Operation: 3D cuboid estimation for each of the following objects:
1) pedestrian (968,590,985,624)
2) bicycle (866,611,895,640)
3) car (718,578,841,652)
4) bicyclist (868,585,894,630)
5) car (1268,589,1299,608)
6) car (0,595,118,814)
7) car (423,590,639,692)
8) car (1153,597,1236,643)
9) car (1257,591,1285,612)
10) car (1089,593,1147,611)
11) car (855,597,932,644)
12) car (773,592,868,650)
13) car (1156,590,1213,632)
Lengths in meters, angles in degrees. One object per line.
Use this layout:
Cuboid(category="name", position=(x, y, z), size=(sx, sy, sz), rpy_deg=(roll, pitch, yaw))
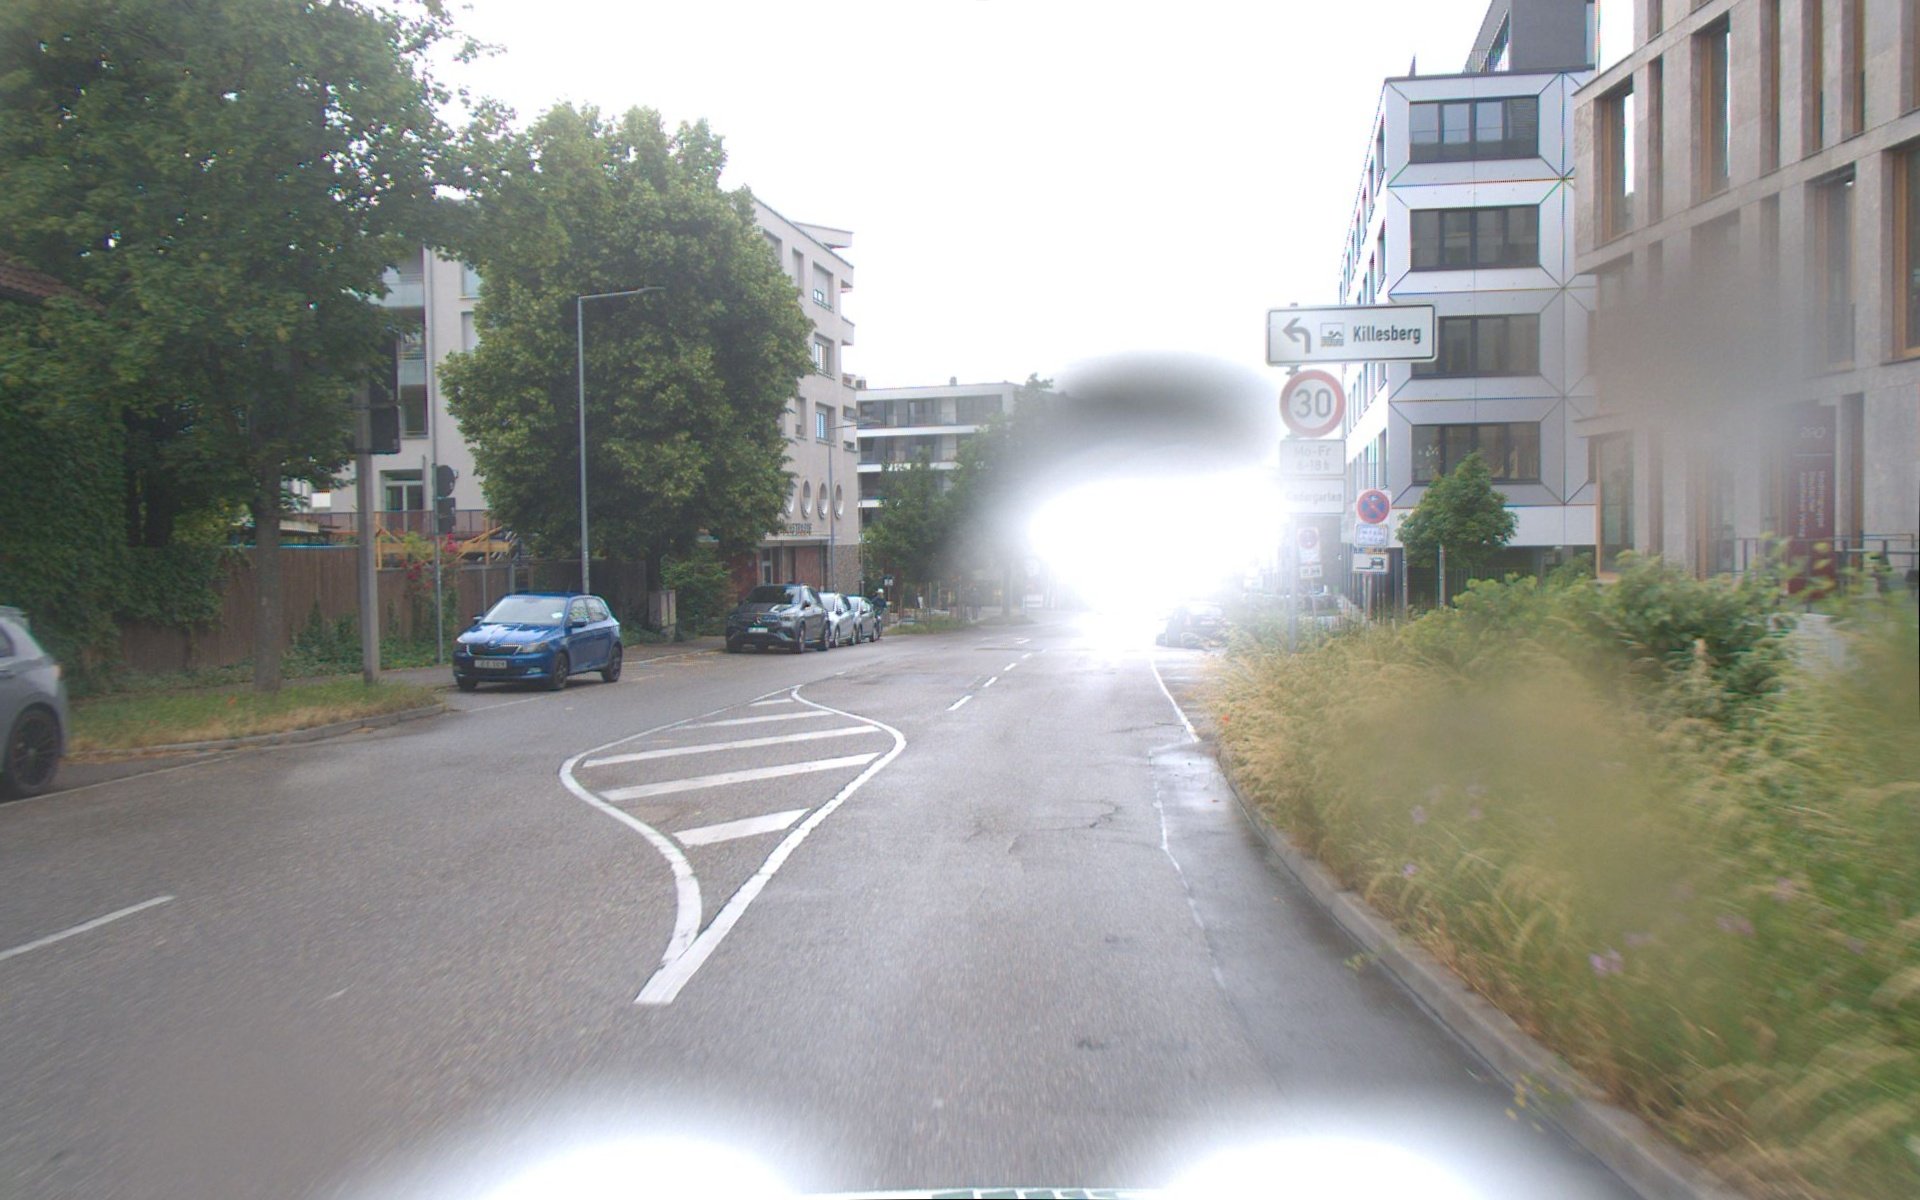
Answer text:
Cuboid(category="pedestrian", position=(0.992, 0.399, 100.845), size=(1.033, 2.049, 1.099), rpy_deg=(0, 0, 0))
Cuboid(category="bicycle", position=(-2.746, 0.875, 57.514), size=(0.785, 0.996, 2.255), rpy_deg=(0, 0, 3))
Cuboid(category="car", position=(-4.682, 0.379, 43.752), size=(1.951, 1.818, 5.415), rpy_deg=(0, 0, 8))
Cuboid(category="bicyclist", position=(-2.743, 0.245, 57.536), size=(0.784, 1.549, 1.202), rpy_deg=(0, 0, 2))
Cuboid(category="car", position=(26.391, -0.143, 134.781), size=(1.770, 1.510, 4.495), rpy_deg=(0, 0, 21))
Cuboid(category="car", position=(-7.747, 0.726, 10.894), size=(1.952, 1.539, 4.424), rpy_deg=(0, 0, 3))
Cuboid(category="car", position=(-6.782, 0.610, 26.635), size=(1.951, 1.496, 4.189), rpy_deg=(0, 0, 7))
Cuboid(category="car", position=(7.930, 0.659, 56.232), size=(2.004, 1.484, 4.052), rpy_deg=(0, 0, -4))
Cuboid(category="car", position=(24.418, 0.100, 129.872), size=(1.514, 1.504, 3.660), rpy_deg=(0, 1, 22))
Cuboid(category="car", position=(11.881, 0.167, 124.119), size=(1.963, 1.315, 4.677), rpy_deg=(0, 0, 41))
Cuboid(category="car", position=(-2.136, 0.644, 53.815), size=(1.839, 1.488, 3.850), rpy_deg=(0, 0, 8))
Cuboid(category="car", position=(-4.121, 0.601, 49.569), size=(1.947, 1.621, 4.493), rpy_deg=(0, 0, 7))
Cuboid(category="car", position=(8.331, 0.387, 61.447), size=(1.996, 1.490, 4.506), rpy_deg=(0, 0, 8))
